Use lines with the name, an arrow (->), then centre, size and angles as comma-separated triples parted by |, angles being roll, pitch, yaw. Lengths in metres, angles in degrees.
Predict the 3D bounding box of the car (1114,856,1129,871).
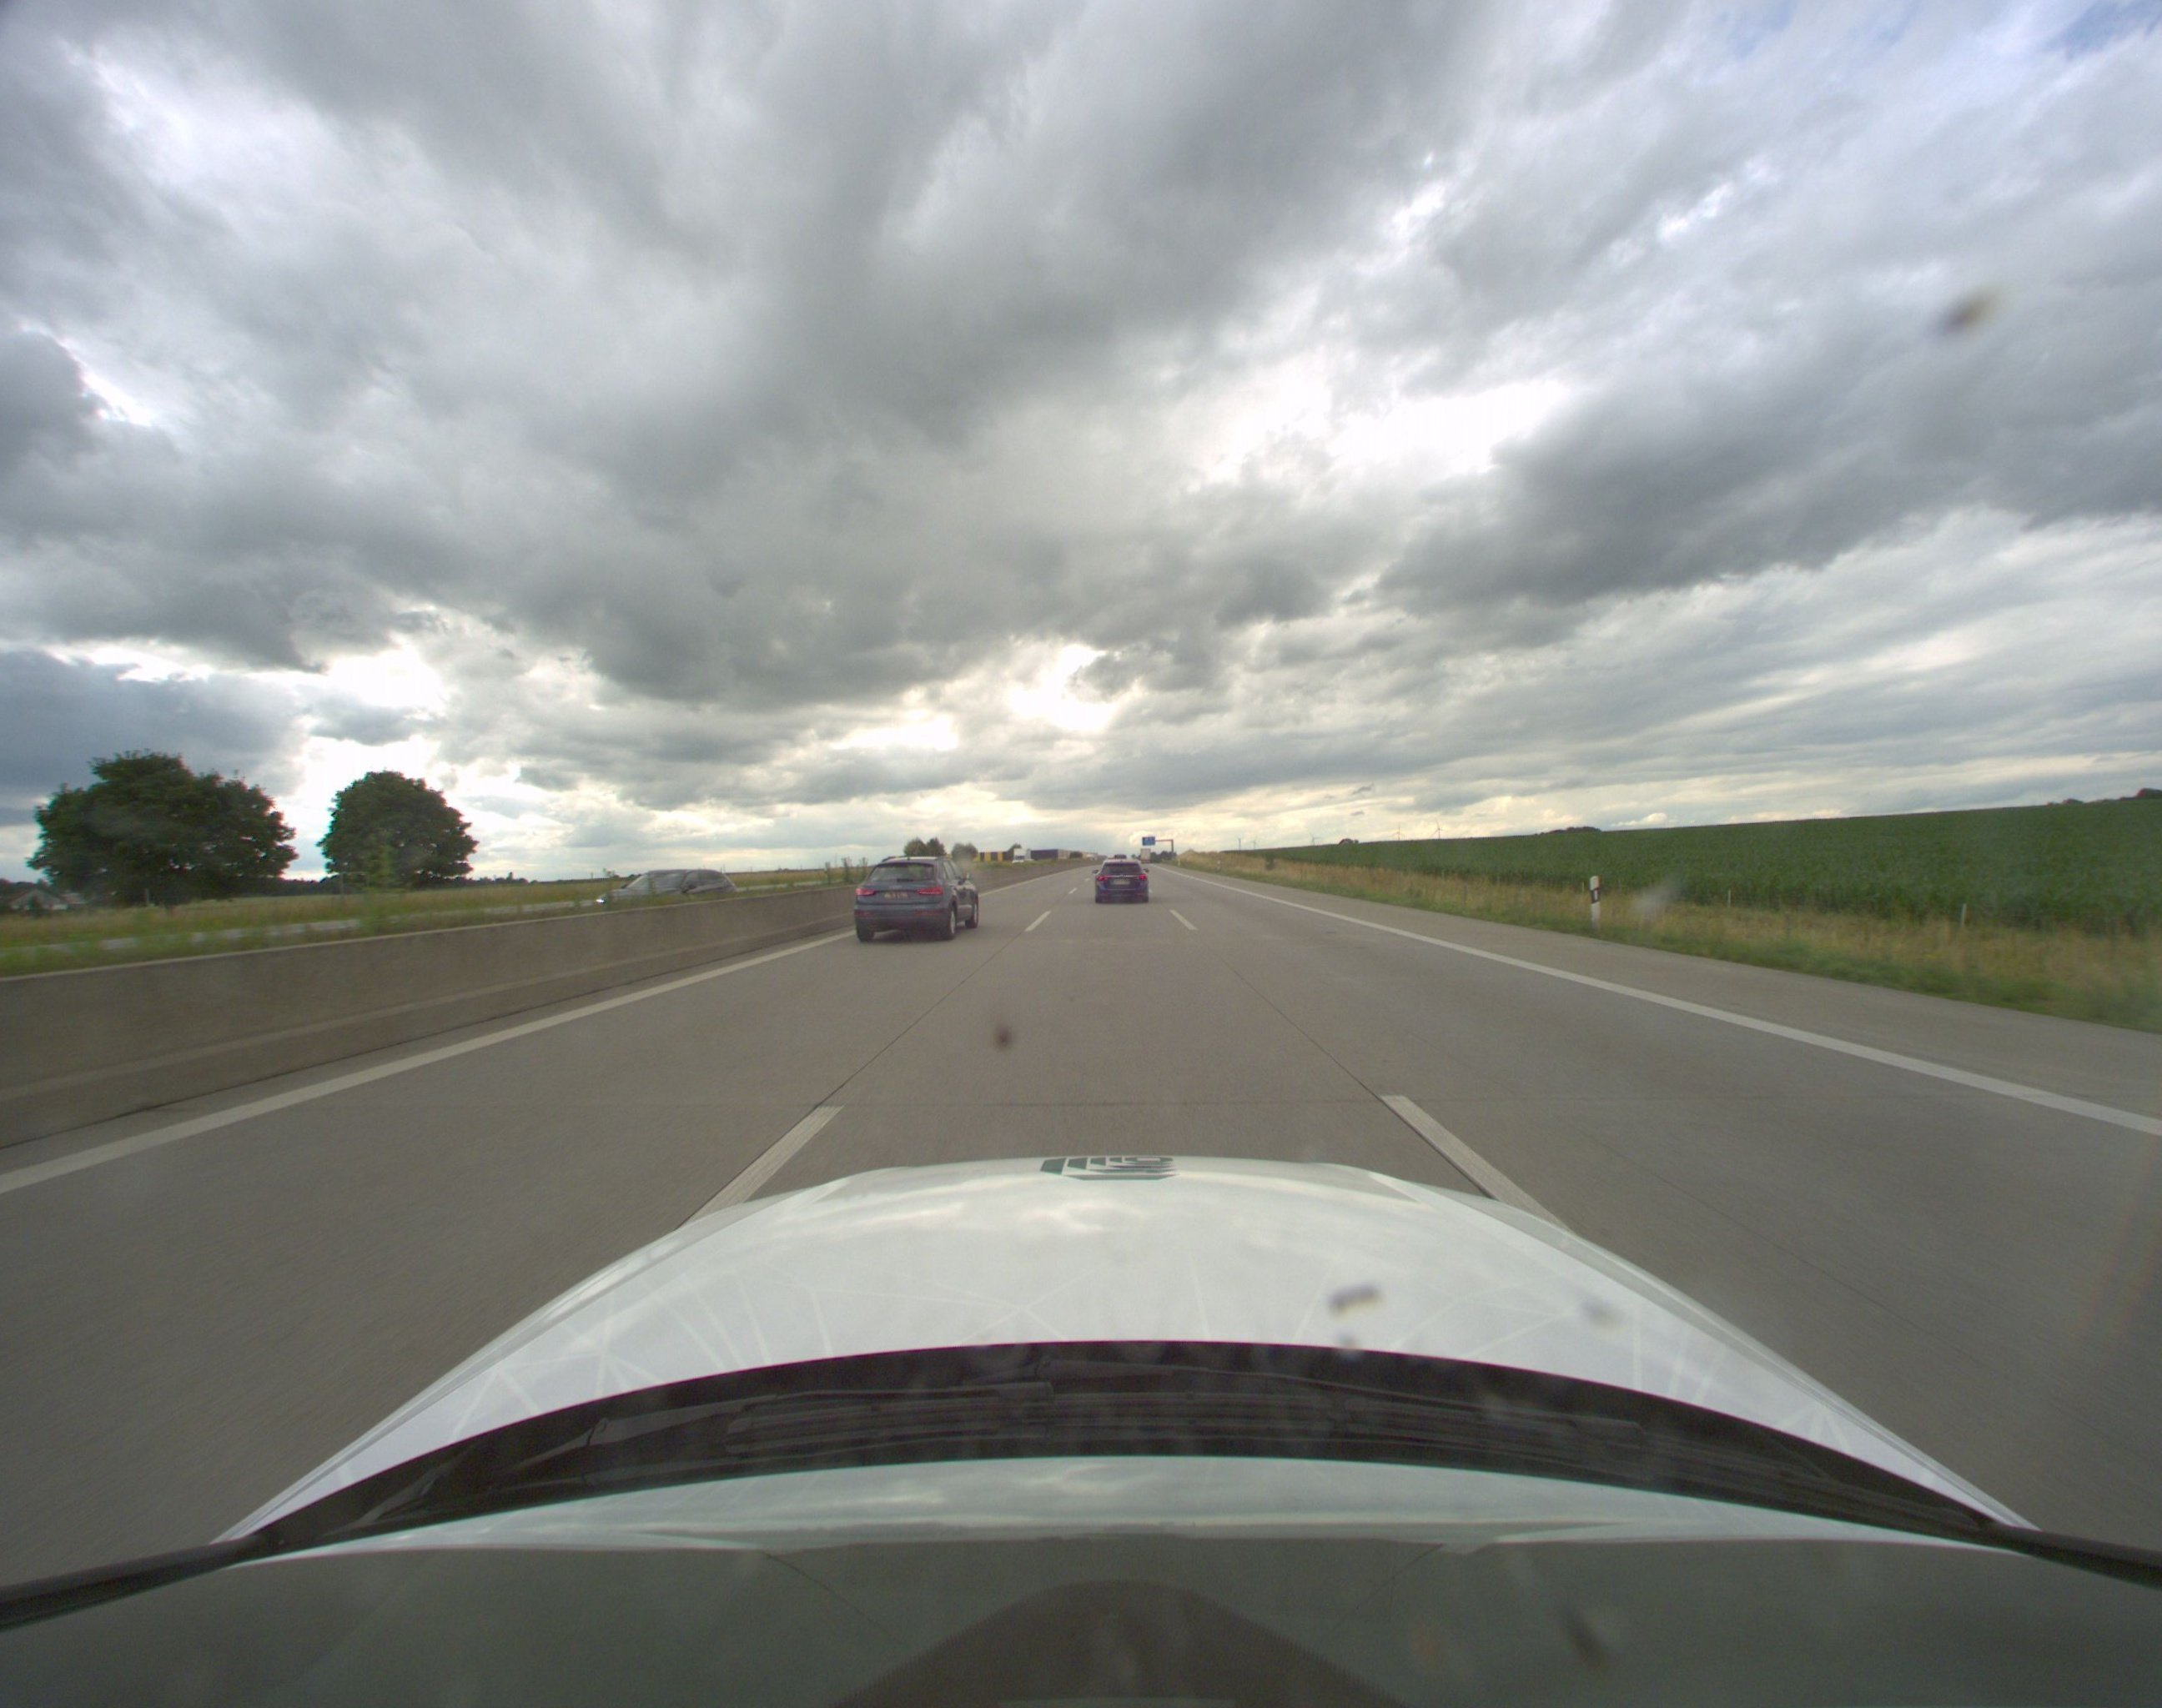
car -> 5.551, 1.310, 111.937 | 1.986, 2.014, 4.000 | 0, -1, 1

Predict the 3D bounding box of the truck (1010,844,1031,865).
truck -> -9.802, 0.076, 132.810 | 2.347, 3.328, 7.304 | 0, -1, 4

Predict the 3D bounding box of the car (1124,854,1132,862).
car -> 13.086, 1.074, 225.953 | 1.987, 2.014, 3.999 | 0, -1, 0

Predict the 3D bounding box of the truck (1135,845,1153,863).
truck -> 17.276, 0.133, 223.727 | 3.938, 4.756, 12.073 | 0, -1, 0

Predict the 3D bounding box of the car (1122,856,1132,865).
car -> 9.941, 1.414, 177.174 | 1.986, 2.014, 4.001 | 0, 0, 1

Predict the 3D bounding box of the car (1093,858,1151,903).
car -> 1.332, 0.879, 28.021 | 1.769, 1.413, 3.999 | -1, -1, 0

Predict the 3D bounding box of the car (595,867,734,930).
car -> -11.144, 1.145, 22.080 | 1.706, 1.556, 3.771 | 0, -1, 2

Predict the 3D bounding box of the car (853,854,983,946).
car -> -3.188, 0.819, 16.956 | 1.788, 1.596, 5.153 | 0, 0, -2
